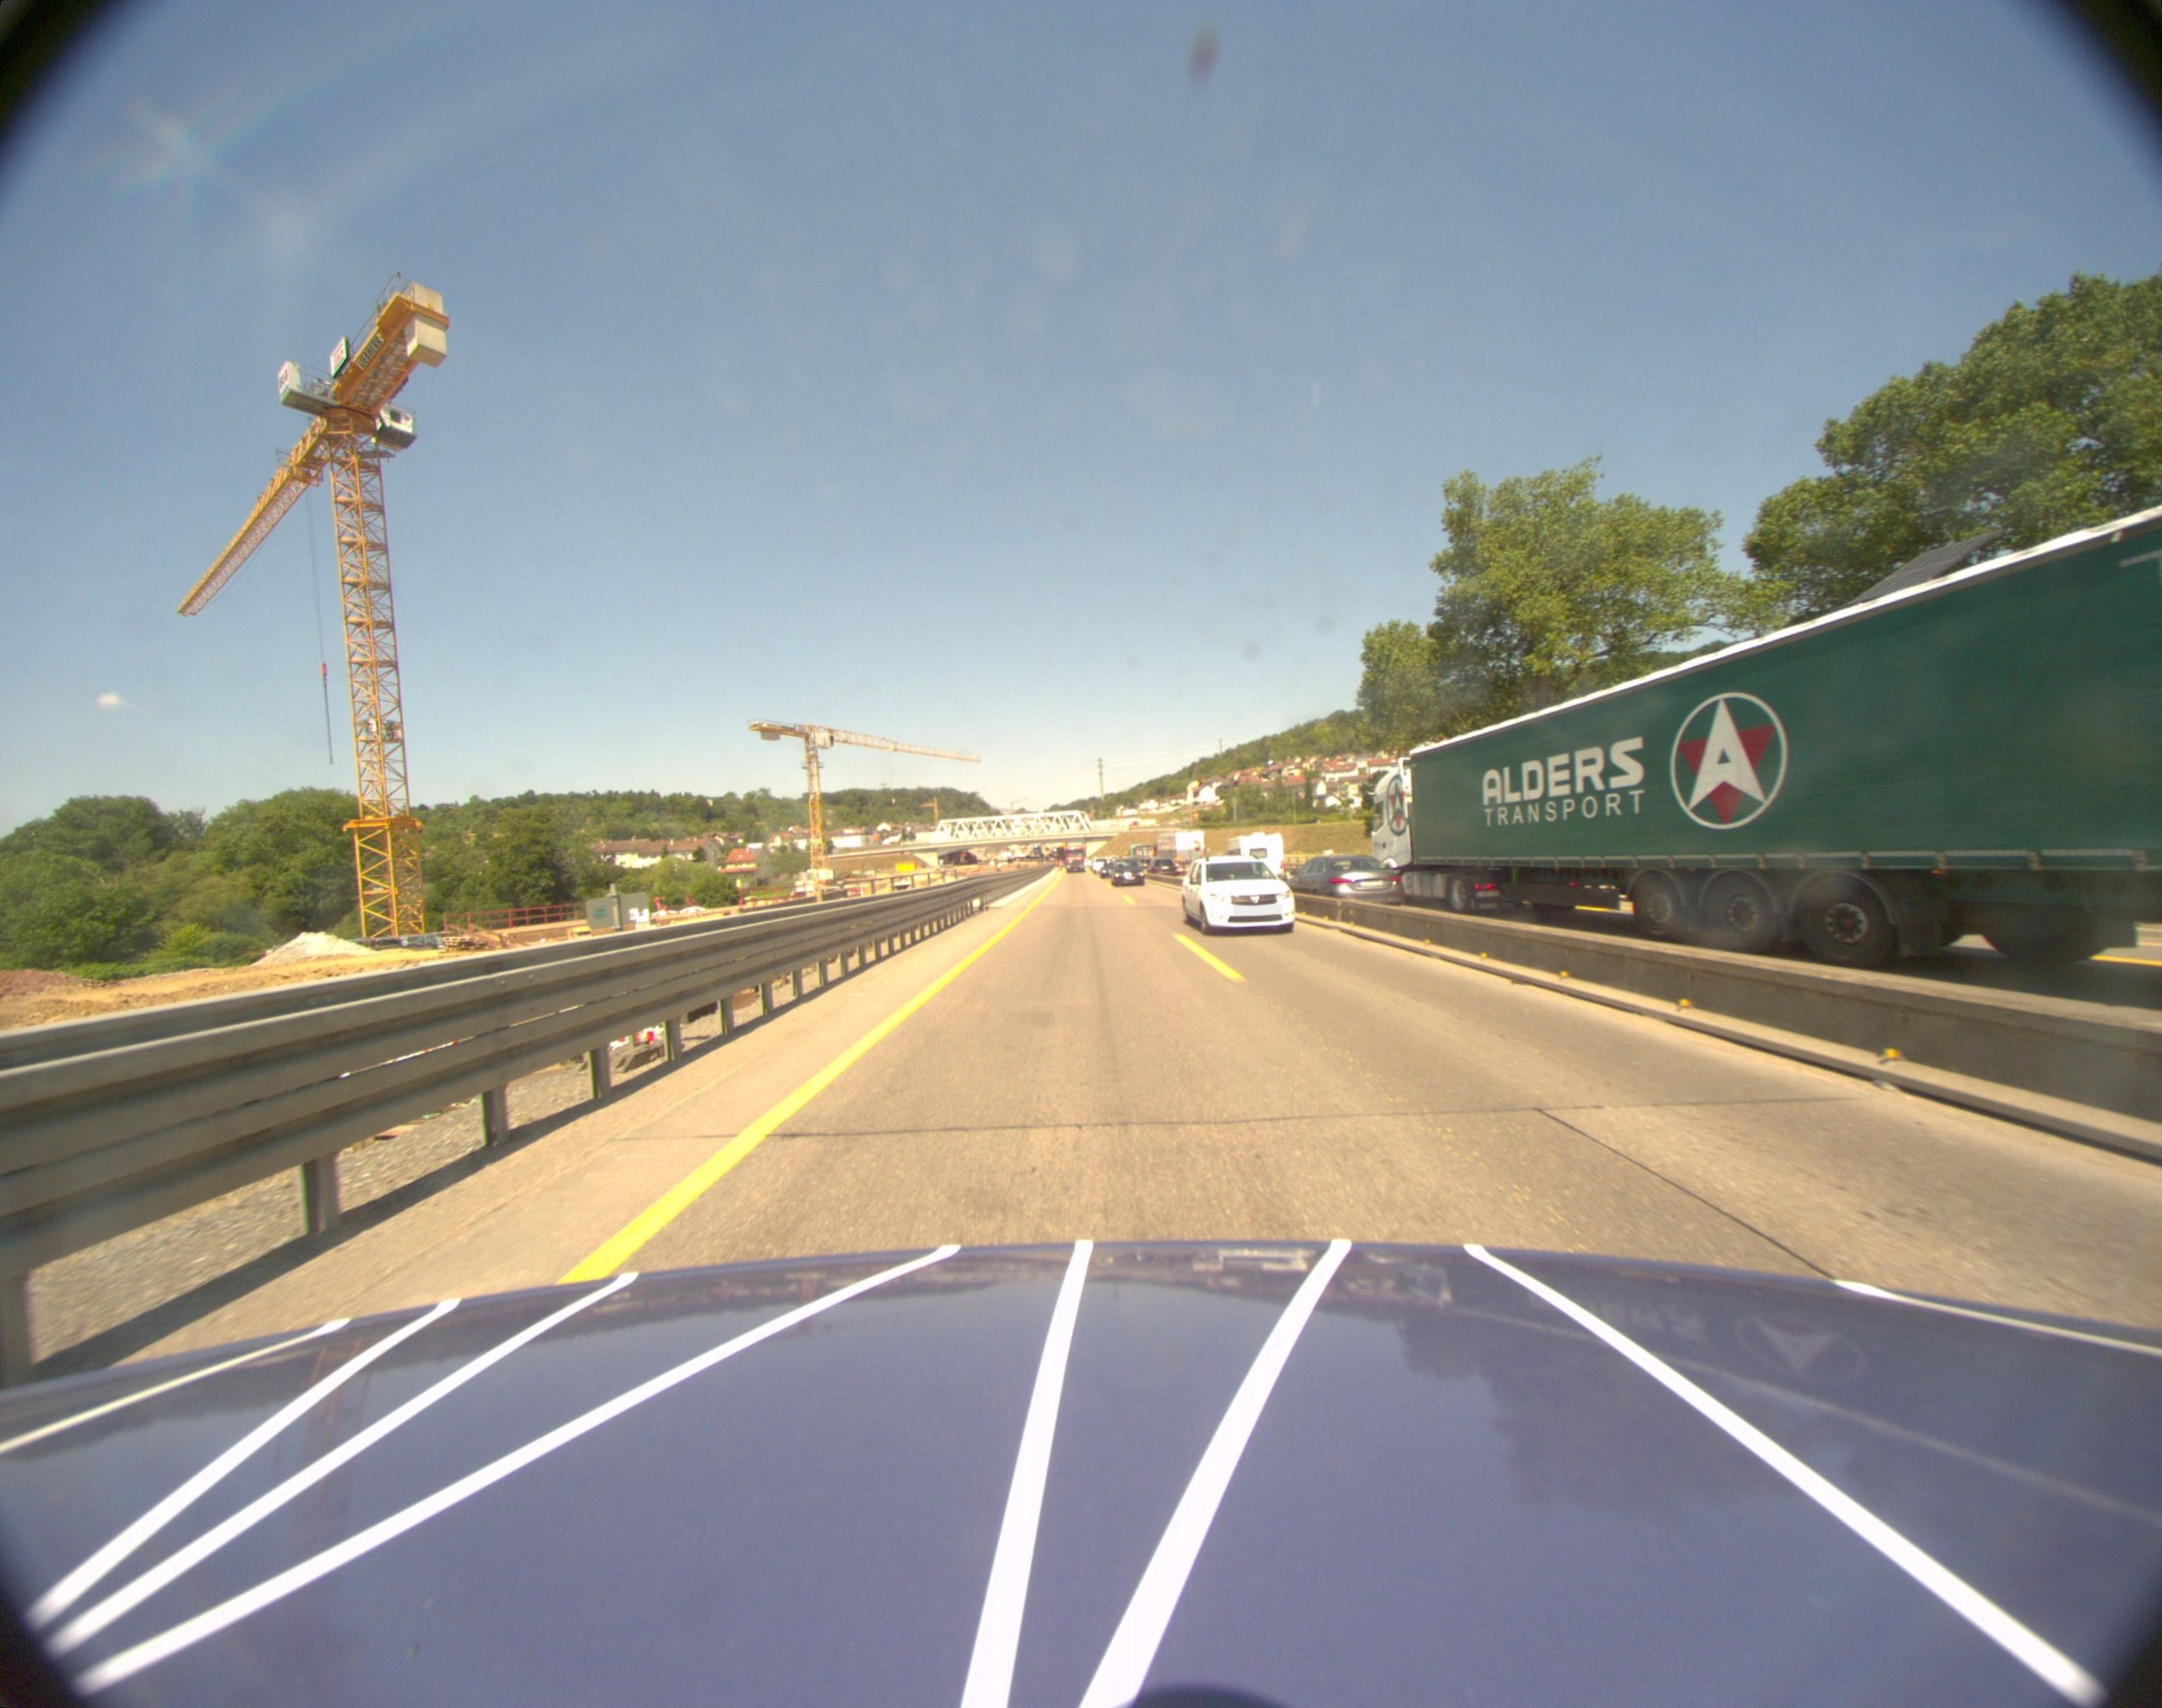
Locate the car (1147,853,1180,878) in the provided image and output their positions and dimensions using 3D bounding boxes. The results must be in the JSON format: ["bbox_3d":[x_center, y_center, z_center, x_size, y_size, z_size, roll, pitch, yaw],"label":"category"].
[{"bbox_3d":[6.186,0.870,57.224,1.852,1.678,4.618,-4,0,-1],"label":"car"}]

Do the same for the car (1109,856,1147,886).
[{"bbox_3d":[2.825,0.992,46.323,1.862,1.682,4.097,-2,0,-2],"label":"car"}]

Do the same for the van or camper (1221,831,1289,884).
[{"bbox_3d":[9.561,0.187,42.262,2.510,2.682,5.244,-2,0,1],"label":"van or camper"}]

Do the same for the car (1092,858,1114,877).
[{"bbox_3d":[1.987,1.243,69.387,1.791,1.578,4.000,-4,0,1],"label":"car"}]

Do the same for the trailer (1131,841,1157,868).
[{"bbox_3d":[9.284,0.165,113.167,2.801,3.650,8.956,-4,0,-1],"label":"trailer"}]

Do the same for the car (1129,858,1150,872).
[{"bbox_3d":[6.372,1.185,82.810,1.906,1.452,4.194,0,-1,-1],"label":"car"}]

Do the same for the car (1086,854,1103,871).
[{"bbox_3d":[1.616,0.964,89.505,1.791,1.870,4.000,-4,0,1],"label":"car"}]

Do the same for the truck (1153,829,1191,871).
[{"bbox_3d":[9.241,-0.316,78.127,2.823,4.013,6.522,-3,-1,-1],"label":"truck"}]

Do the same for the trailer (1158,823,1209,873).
[{"bbox_3d":[9.348,-0.435,70.796,2.814,4.151,11.798,-3,-1,-1],"label":"trailer"}]

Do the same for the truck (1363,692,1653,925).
[{"bbox_3d":[9.842,-0.892,18.714,3.085,4.510,7.103,-2,0,1],"label":"truck"}]

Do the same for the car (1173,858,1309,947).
[{"bbox_3d":[3.174,0.888,16.069,1.823,1.521,4.706,-2,0,0],"label":"car"}]

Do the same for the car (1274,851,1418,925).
[{"bbox_3d":[6.263,0.753,18.581,1.870,1.450,4.607,-4,0,1],"label":"car"}]

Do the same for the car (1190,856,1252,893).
[{"bbox_3d":[6.171,0.882,34.018,1.782,1.412,4.537,-4,0,-1],"label":"car"}]

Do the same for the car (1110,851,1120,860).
[{"bbox_3d":[7.198,0.337,162.751,1.864,1.856,4.629,-1,0,0],"label":"car"}]

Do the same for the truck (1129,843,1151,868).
[{"bbox_3d":[9.193,0.206,118.631,2.804,3.700,5.374,-4,0,-1],"label":"truck"}]

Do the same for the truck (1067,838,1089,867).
[{"bbox_3d":[-0.418,-0.205,105.478,2.702,3.705,8.507,-2,1,1],"label":"truck"}]

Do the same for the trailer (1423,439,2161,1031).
[{"bbox_3d":[9.746,-0.882,11.731,3.109,4.438,13.020,-2,0,1],"label":"trailer"}]
